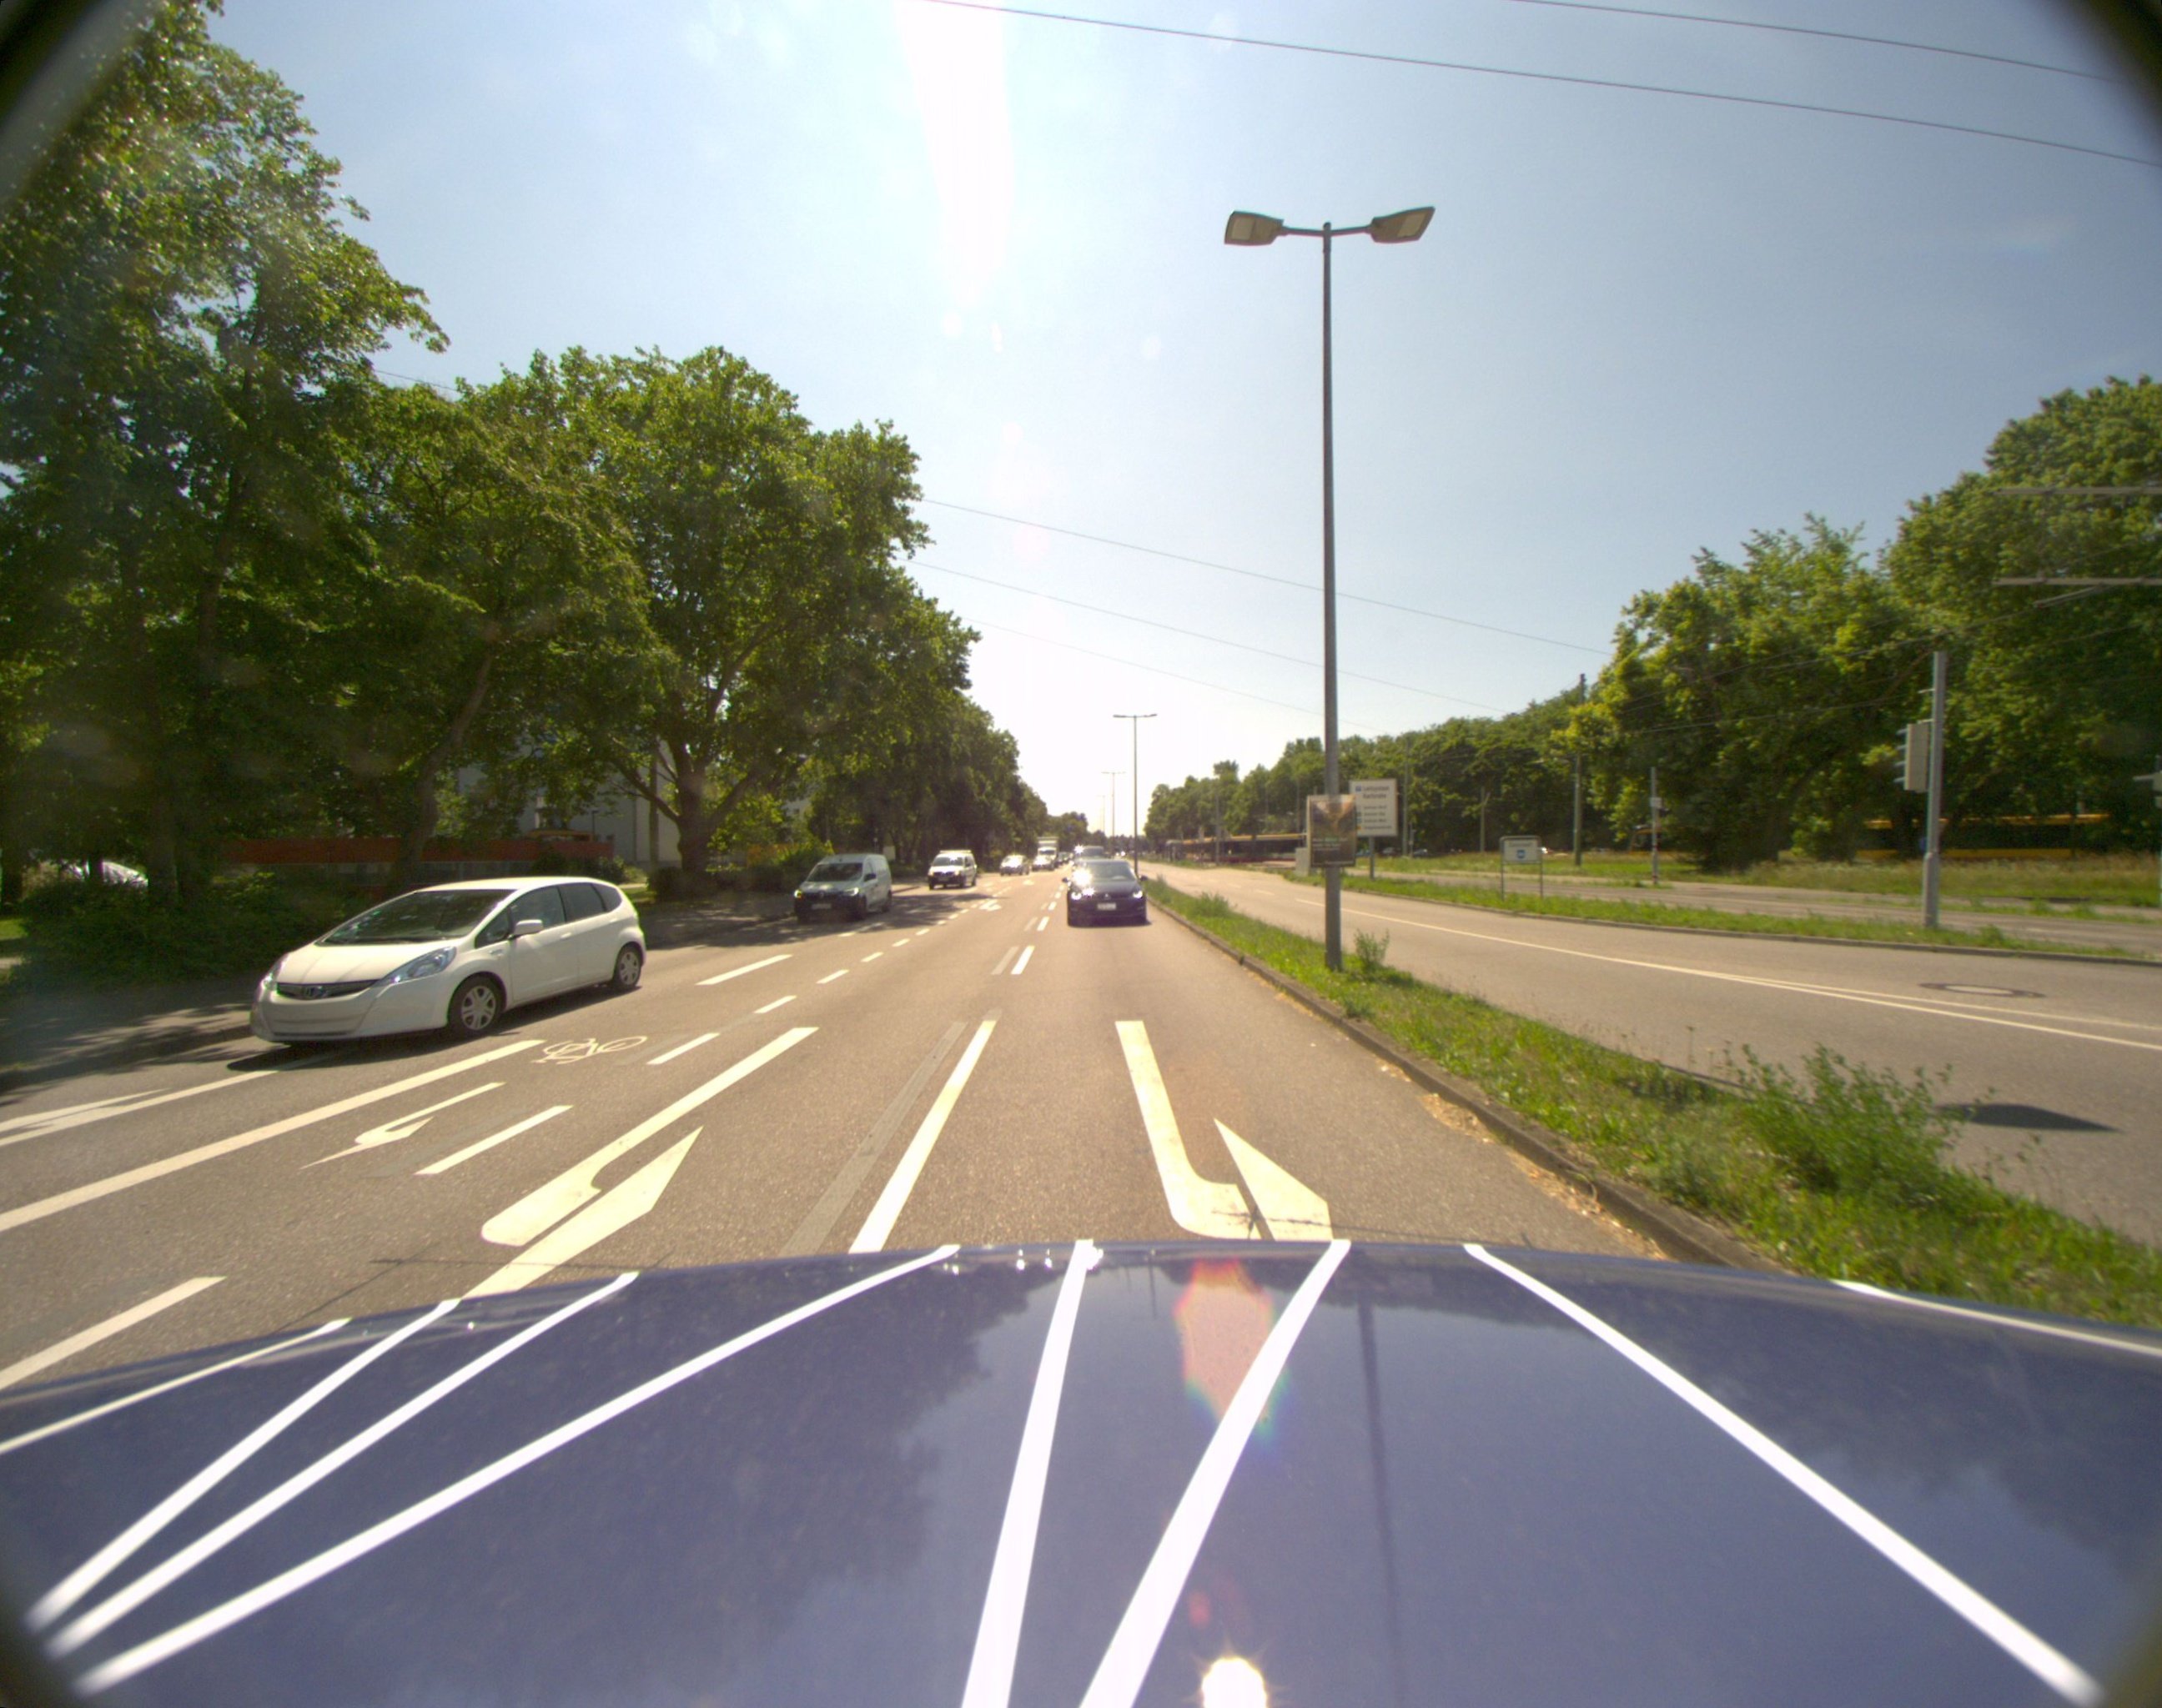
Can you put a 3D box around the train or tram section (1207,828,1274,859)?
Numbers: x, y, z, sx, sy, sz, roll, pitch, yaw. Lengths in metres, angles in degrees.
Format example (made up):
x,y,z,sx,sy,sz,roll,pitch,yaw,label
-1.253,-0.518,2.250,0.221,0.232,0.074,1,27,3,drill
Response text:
x,y,z,sx,sy,sz,roll,pitch,yaw,label
20.287,-1.205,97.873,3.055,3.603,12.435,-3,0,-15,train or tram section

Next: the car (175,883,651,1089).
x,y,z,sx,sy,sz,roll,pitch,yaw,label
-6.633,1.167,8.247,1.725,1.480,3.877,-2,0,-1,car

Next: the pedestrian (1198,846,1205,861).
x,y,z,sx,sy,sz,roll,pitch,yaw,label
12.956,-0.038,81.698,0.536,1.556,0.582,-2,1,-1,pedestrian

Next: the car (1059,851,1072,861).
x,y,z,sx,sy,sz,roll,pitch,yaw,label
-2.199,0.287,106.363,1.618,1.373,4.114,-2,0,1,car

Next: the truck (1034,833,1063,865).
x,y,z,sx,sy,sz,roll,pitch,yaw,label
-3.424,-0.535,81.711,2.490,3.277,6.605,-1,1,2,truck

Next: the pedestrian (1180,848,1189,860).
x,y,z,sx,sy,sz,roll,pitch,yaw,label
13.544,-0.024,99.506,0.933,1.537,0.985,-2,1,-2,pedestrian

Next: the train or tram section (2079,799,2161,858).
x,y,z,sx,sy,sz,roll,pitch,yaw,label
65.485,-1.563,41.770,3.047,3.446,12.736,-2,0,-12,train or tram section

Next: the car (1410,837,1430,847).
x,y,z,sx,sy,sz,roll,pitch,yaw,label
56.826,-1.999,127.412,1.389,1.587,3.068,-2,0,-13,car

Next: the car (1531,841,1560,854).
x,y,z,sx,sy,sz,roll,pitch,yaw,label
59.145,-0.799,96.769,1.389,1.587,3.068,-2,0,-13,car

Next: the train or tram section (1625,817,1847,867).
x,y,z,sx,sy,sz,roll,pitch,yaw,label
52.191,-0.839,61.252,13.229,3.446,3.052,-2,1,40,train or tram section

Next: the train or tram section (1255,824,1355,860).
x,y,z,sx,sy,sz,roll,pitch,yaw,label
25.042,-1.229,85.986,3.057,3.603,12.425,-3,0,-27,train or tram section

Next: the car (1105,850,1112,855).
x,y,z,sx,sy,sz,roll,pitch,yaw,label
8.386,-0.452,233.386,1.773,1.496,3.721,-1,0,6,car

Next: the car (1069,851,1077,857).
x,y,z,sx,sy,sz,roll,pitch,yaw,label
-2.118,0.000,207.998,1.745,1.382,3.888,-1,1,4,car

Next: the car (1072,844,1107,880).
x,y,z,sx,sy,sz,roll,pitch,yaw,label
0.478,0.396,40.738,1.746,1.840,3.887,-1,1,1,car

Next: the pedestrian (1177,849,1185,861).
x,y,z,sx,sy,sz,roll,pitch,yaw,label
12.869,0.069,97.996,0.837,1.499,0.879,-2,1,-2,pedestrian

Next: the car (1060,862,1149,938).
x,y,z,sx,sy,sz,roll,pitch,yaw,label
0.501,0.934,17.079,1.746,1.382,3.887,-2,1,1,car

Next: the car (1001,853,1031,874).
x,y,z,sx,sy,sz,roll,pitch,yaw,label
-4.908,0.678,57.481,1.625,1.433,3.499,-2,0,5,car

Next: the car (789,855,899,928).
x,y,z,sx,sy,sz,roll,pitch,yaw,label
-6.515,0.959,21.416,1.714,1.737,4.426,-2,0,-1,car

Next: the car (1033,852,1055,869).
x,y,z,sx,sy,sz,roll,pitch,yaw,label
-3.374,0.566,69.928,1.618,1.373,4.113,-2,2,1,car

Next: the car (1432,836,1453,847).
x,y,z,sx,sy,sz,roll,pitch,yaw,label
57.796,-2.006,121.660,1.389,1.587,3.068,-2,0,-13,car

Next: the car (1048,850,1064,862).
x,y,z,sx,sy,sz,roll,pitch,yaw,label
-3.033,0.236,92.690,1.746,1.382,3.887,-1,1,1,car

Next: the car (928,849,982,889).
x,y,z,sx,sy,sz,roll,pitch,yaw,label
-6.370,0.709,39.080,1.809,1.845,5.082,-2,0,1,car

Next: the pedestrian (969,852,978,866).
x,y,z,sx,sy,sz,roll,pitch,yaw,label
-11.071,0.501,78.288,0.710,1.390,0.763,-2,1,1,pedestrian

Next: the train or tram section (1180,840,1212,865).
x,y,z,sx,sy,sz,roll,pitch,yaw,label
18.633,-0.228,124.141,3.051,3.745,13.260,-2,0,0,train or tram section

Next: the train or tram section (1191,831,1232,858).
x,y,z,sx,sy,sz,roll,pitch,yaw,label
18.785,-1.329,110.464,3.052,3.603,13.894,-2,0,-2,train or tram section

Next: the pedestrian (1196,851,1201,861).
x,y,z,sx,sy,sz,roll,pitch,yaw,label
12.729,0.209,82.256,0.384,1.052,0.377,-2,1,-2,pedestrian

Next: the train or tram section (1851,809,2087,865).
x,y,z,sx,sy,sz,roll,pitch,yaw,label
60.910,-1.072,52.572,3.051,3.446,10.200,-3,1,-31,train or tram section
